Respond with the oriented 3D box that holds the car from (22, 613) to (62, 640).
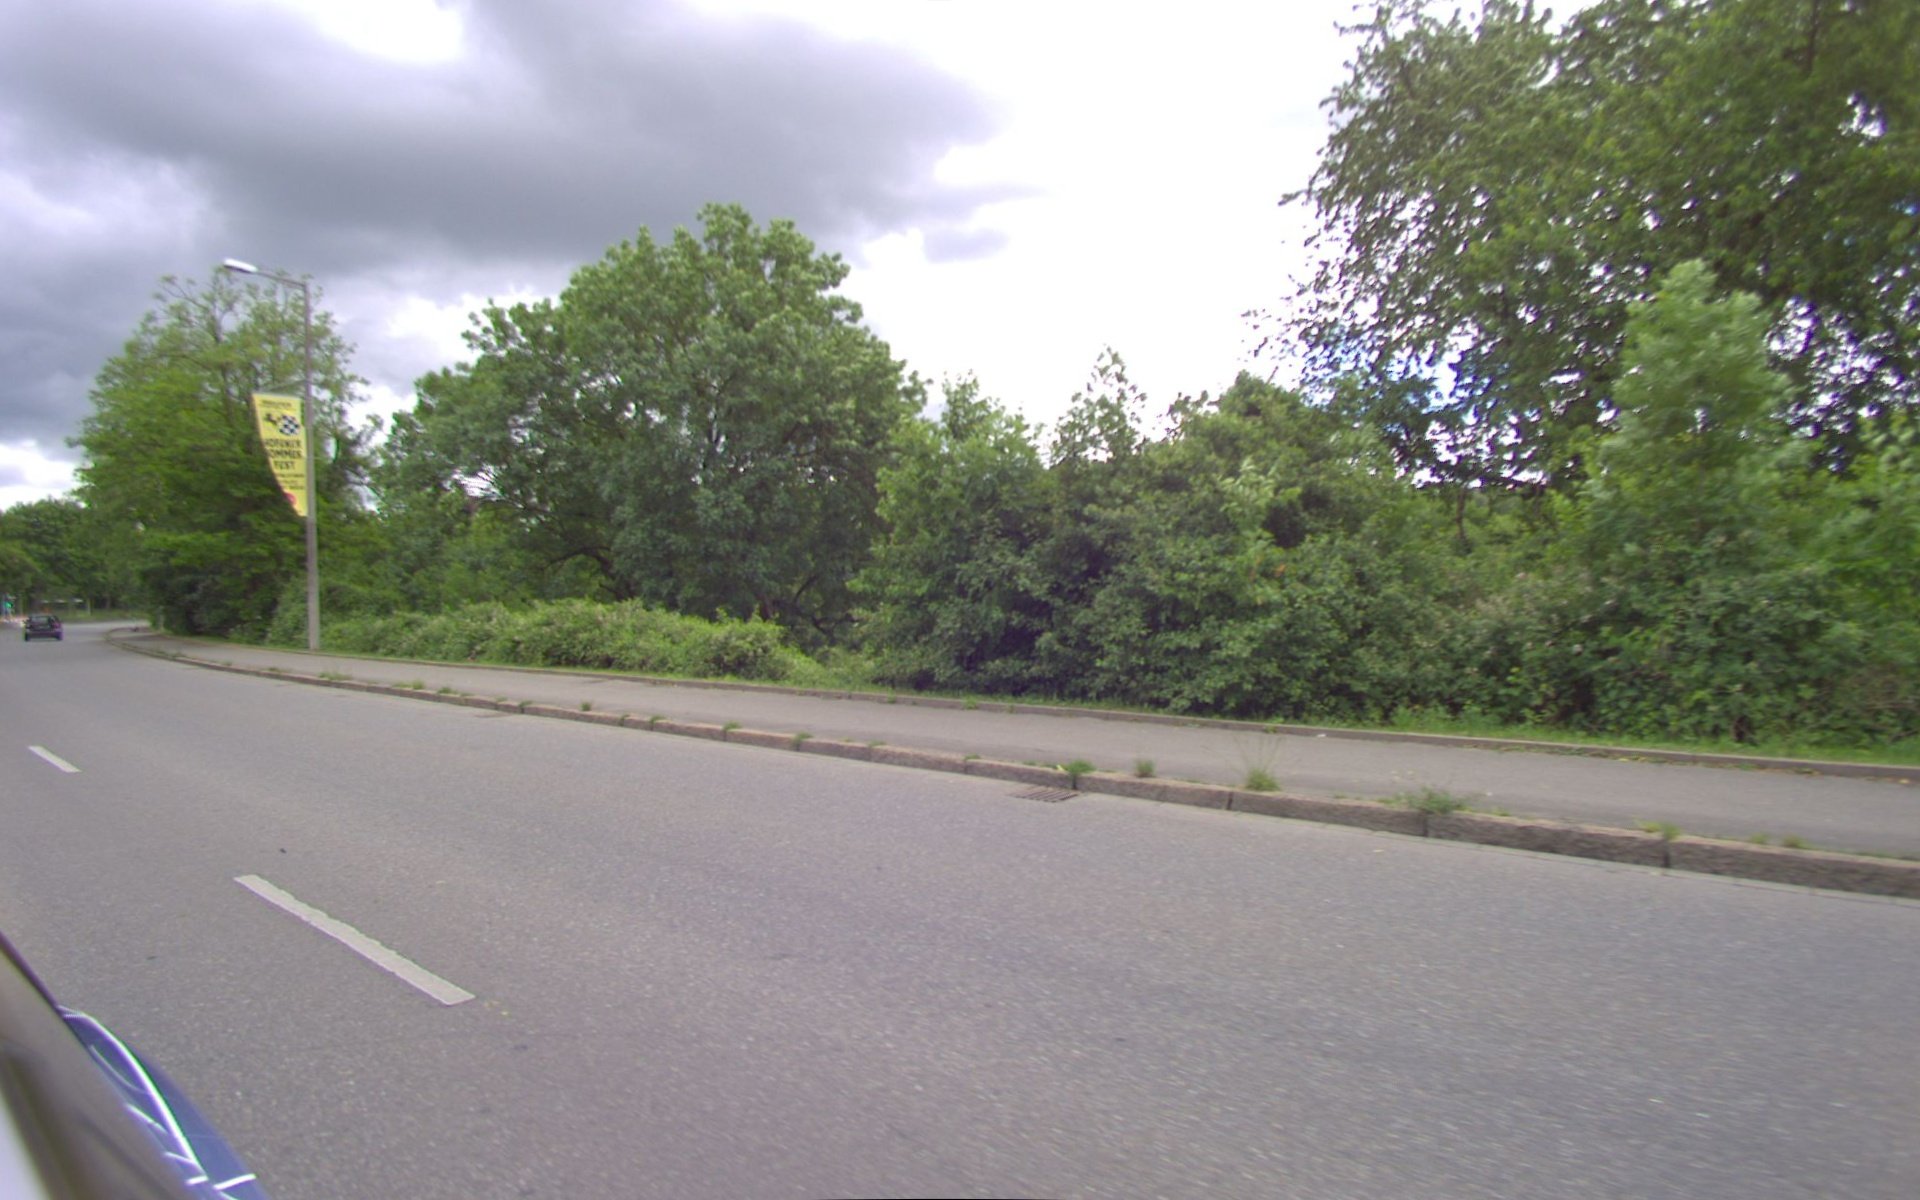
[{"bbox_3d":[-53.293,1.510,58.716,1.577,1.517,3.030,-1,0,-45],"label":"car"}]
